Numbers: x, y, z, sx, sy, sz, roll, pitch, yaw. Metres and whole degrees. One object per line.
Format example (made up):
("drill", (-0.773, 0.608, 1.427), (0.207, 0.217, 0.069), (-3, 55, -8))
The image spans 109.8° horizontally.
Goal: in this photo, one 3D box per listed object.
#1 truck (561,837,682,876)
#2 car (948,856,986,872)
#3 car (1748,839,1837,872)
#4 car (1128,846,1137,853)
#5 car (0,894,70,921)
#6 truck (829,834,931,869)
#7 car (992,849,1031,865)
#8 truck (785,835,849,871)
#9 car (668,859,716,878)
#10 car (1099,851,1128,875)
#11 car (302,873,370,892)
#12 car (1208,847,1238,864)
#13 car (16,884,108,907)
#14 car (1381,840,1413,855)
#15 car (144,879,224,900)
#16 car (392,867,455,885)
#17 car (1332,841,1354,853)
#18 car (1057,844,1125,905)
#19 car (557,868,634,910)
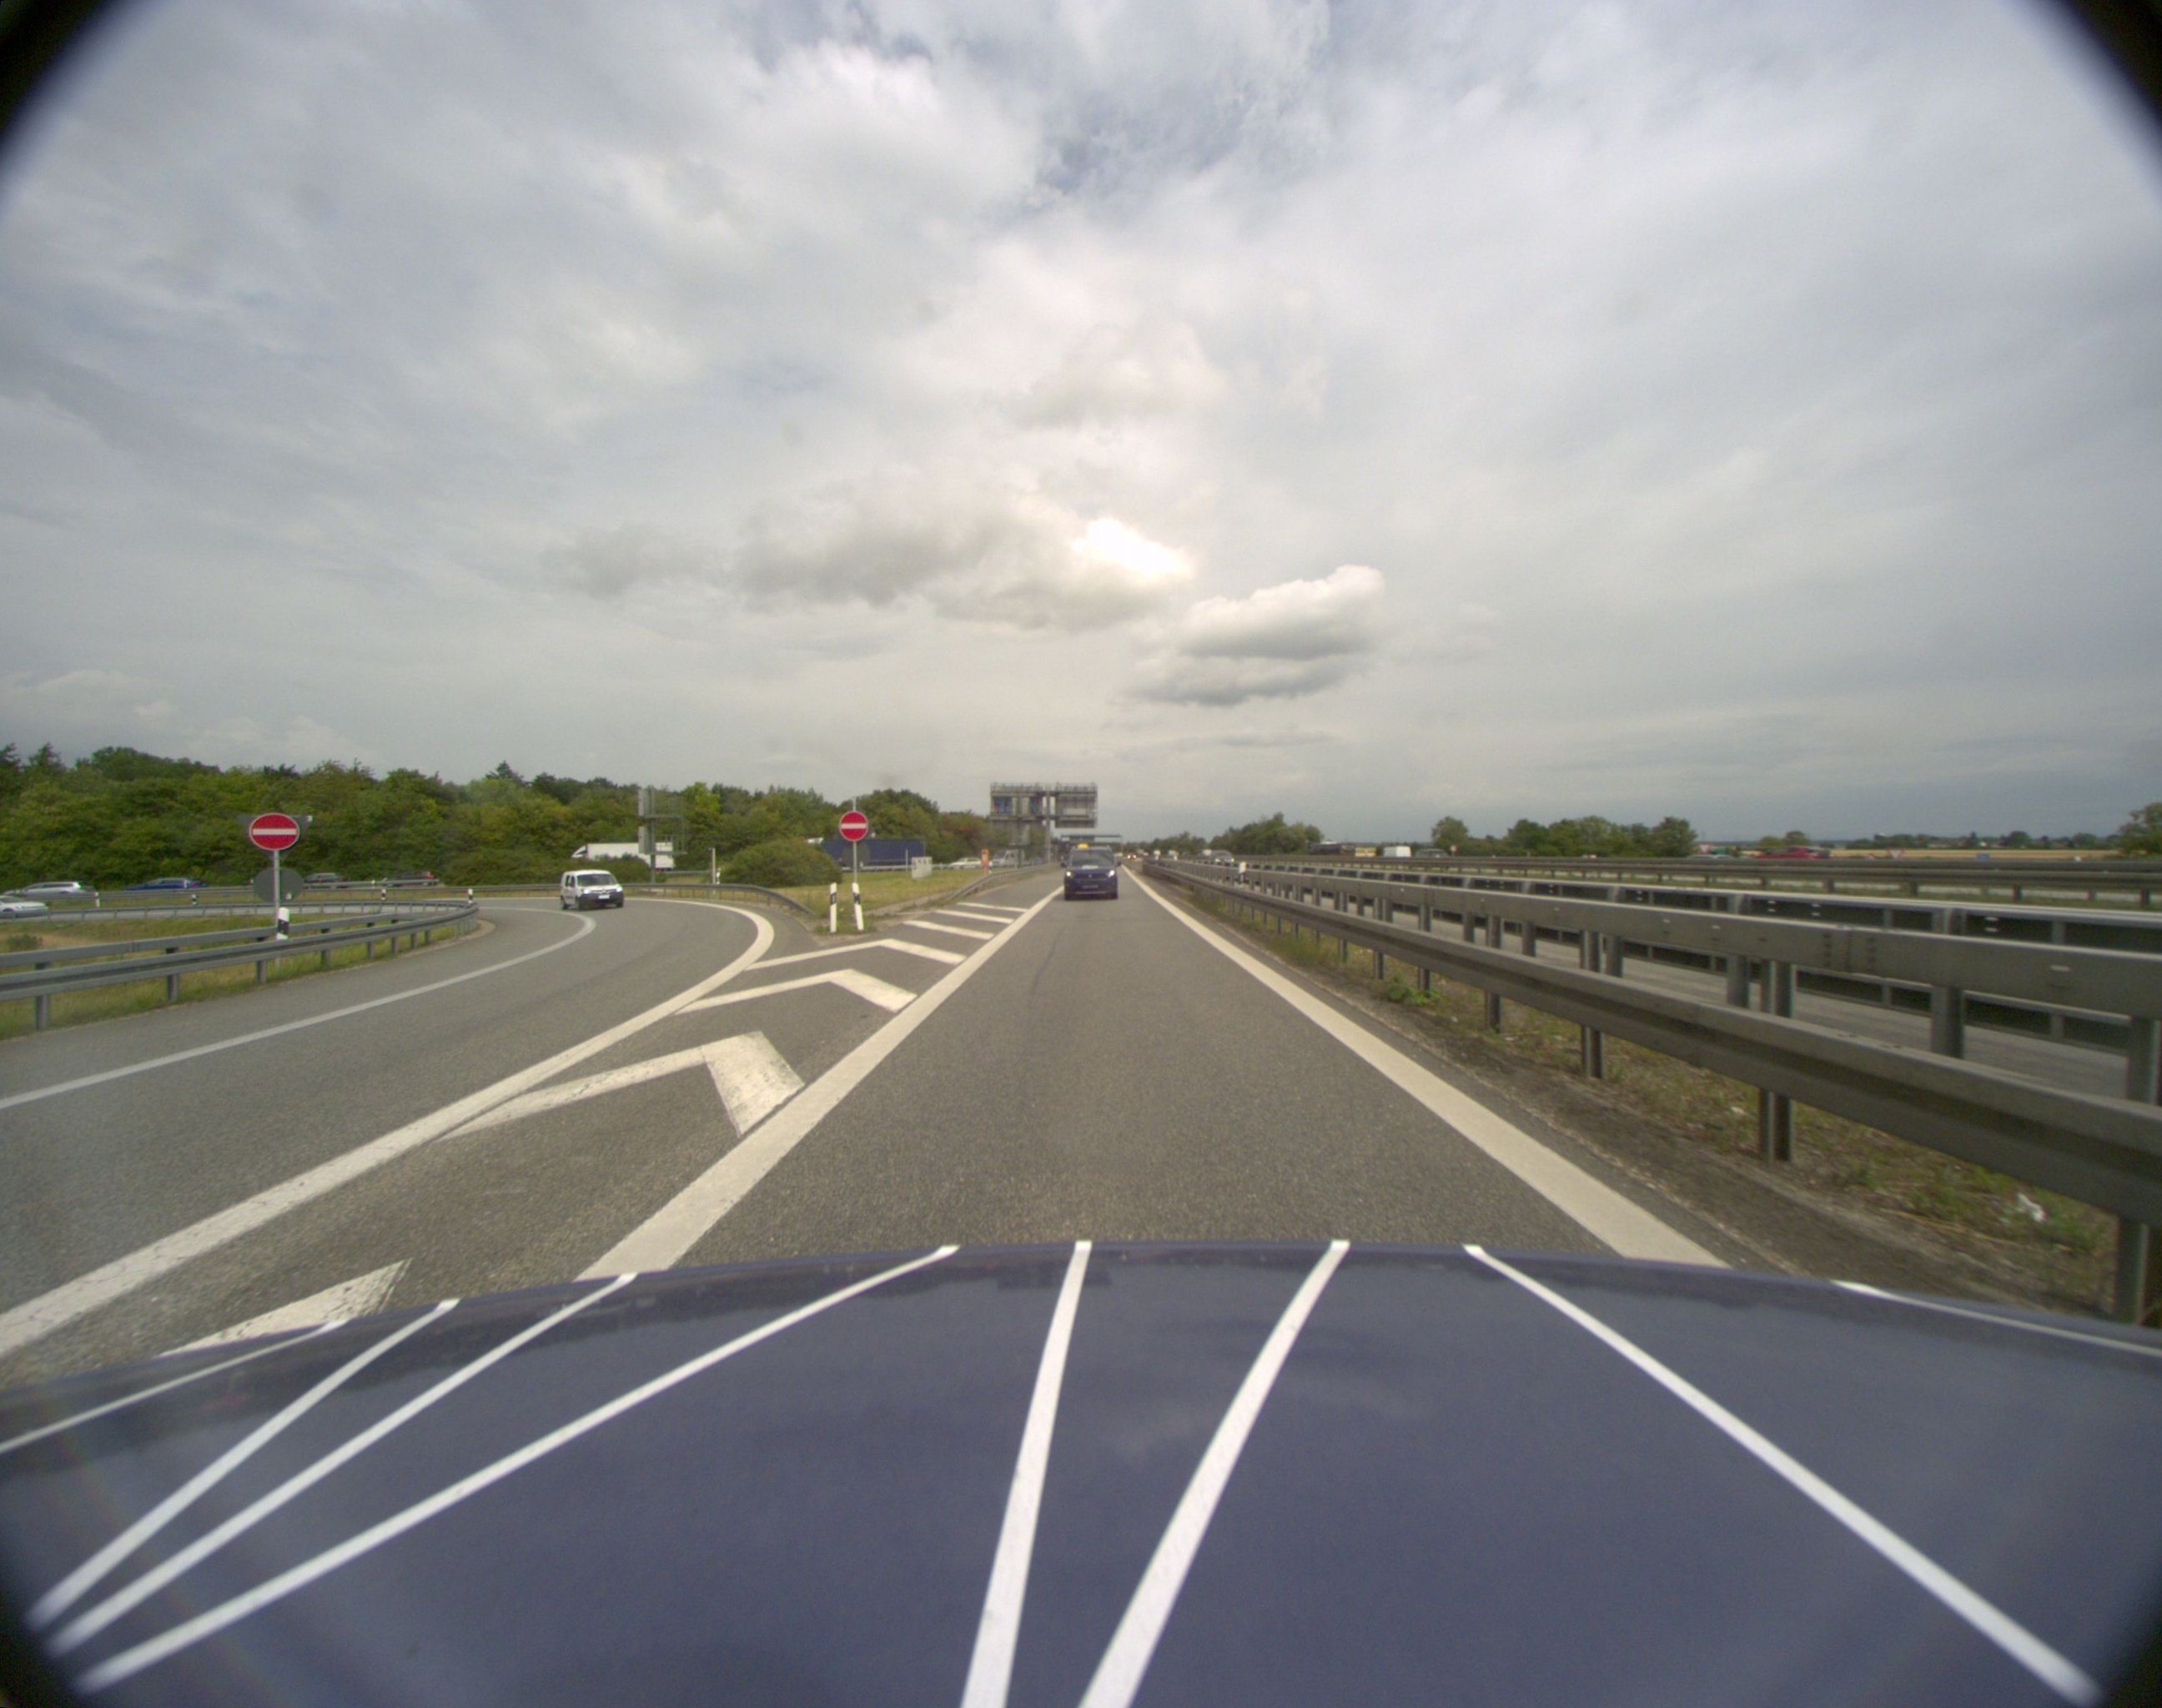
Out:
("truck", (-45.579, 0.218, 75.772), (9.887, 3.383, 2.690), (-2, 1, -24))
("car", (-14.727, 1.261, 98.100), (4.505, 1.774, 1.994), (-3, 1, -45))
("car", (43.978, 0.075, 47.104), (1.802, 1.849, 4.000), (-2, 1, 1))
("car", (12.732, -1.116, 187.244), (1.824, 1.537, 4.353), (-2, 1, -2))
("car", (-69.301, 3.537, 49.287), (4.483, 1.532, 1.725), (-2, 1, -9))
("truck", (-23.812, -0.376, 90.728), (11.814, 3.836, 2.839), (-3, 1, -44))
("car", (-9.604, 0.353, 105.229), (1.995, 2.002, 5.964), (-2, 1, 33))
("truck", (-29.549, -0.157, 85.058), (5.939, 3.780, 2.894), (-2, 1, -44))
("car", (-37.076, 1.352, 72.448), (4.005, 1.540, 1.734), (-3, 1, -29))
("car", (2.150, 0.581, 51.383), (1.747, 1.381, 3.998), (-2, 2, 0))
("car", (-66.665, 2.560, 68.063), (4.004, 1.442, 1.555), (-2, 1, -24))
("car", (13.655, 0.127, 73.171), (1.886, 1.537, 4.614), (-2, 1, -1))
("car", (-81.782, 3.294, 61.052), (4.005, 1.548, 1.795), (-2, 1, -28))
("car", (41.219, -0.855, 99.333), (2.107, 1.849, 4.749), (-2, 1, -1))
("car", (-74.797, 2.946, 63.423), (4.005, 1.485, 1.555), (-3, 1, -29))
("car", (-60.535, 1.987, 70.003), (4.004, 1.392, 1.556), (-2, 1, -22))
("car", (40.689, -1.093, 117.989), (1.831, 1.849, 3.998), (-2, 1, -4))
("car", (0.292, 0.601, 25.126), (1.999, 1.783, 3.999), (-2, 1, -1))
("car", (-22.130, 1.553, 34.565), (3.989, 1.736, 1.867), (-2, 1, 42))
